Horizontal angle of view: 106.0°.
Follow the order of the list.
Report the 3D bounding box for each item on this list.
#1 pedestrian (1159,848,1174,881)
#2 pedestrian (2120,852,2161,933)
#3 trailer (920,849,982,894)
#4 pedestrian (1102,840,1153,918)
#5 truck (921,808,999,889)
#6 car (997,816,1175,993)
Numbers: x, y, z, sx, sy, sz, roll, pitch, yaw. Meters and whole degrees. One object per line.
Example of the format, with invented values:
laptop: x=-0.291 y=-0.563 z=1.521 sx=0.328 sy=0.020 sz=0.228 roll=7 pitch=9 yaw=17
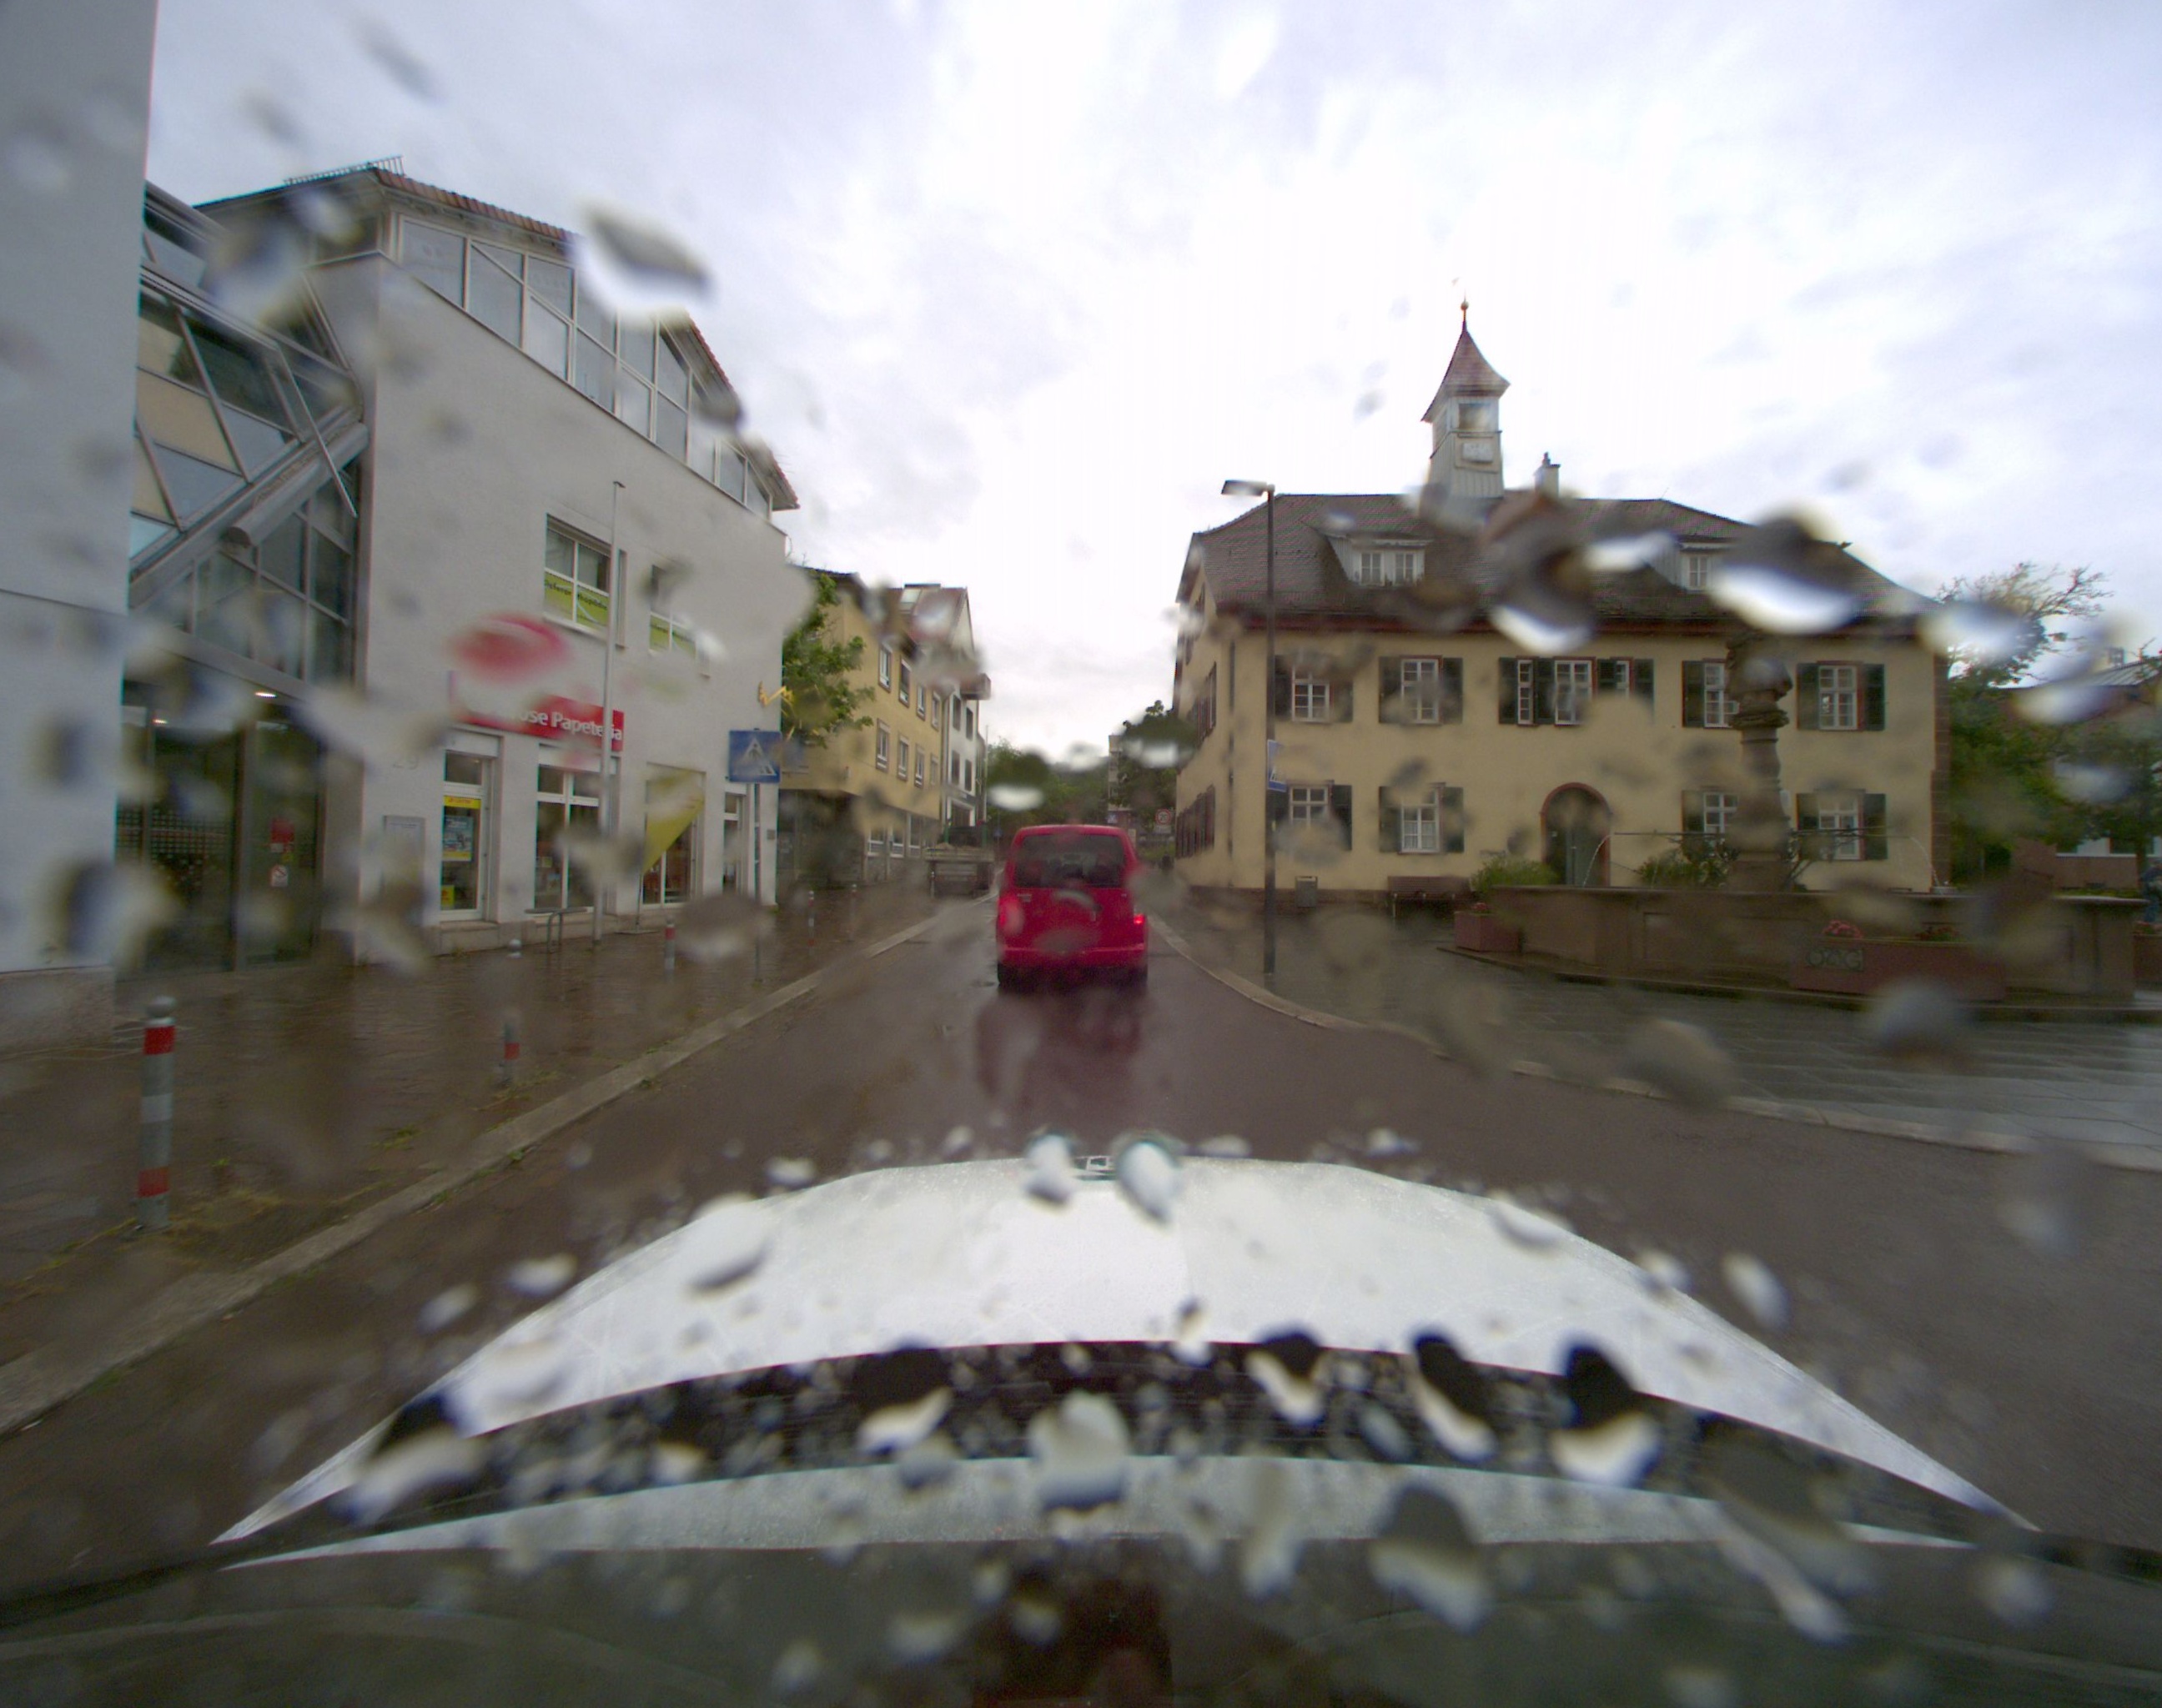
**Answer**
pedestrian: x=4.289 y=0.524 z=40.865 sx=0.725 sy=1.617 sz=0.694 roll=0 pitch=-1 yaw=3
pedestrian: x=24.530 y=0.865 z=18.638 sx=0.687 sy=1.822 sz=0.786 roll=0 pitch=-1 yaw=-26
trailer: x=-4.164 y=0.535 z=26.545 sx=1.725 sy=1.346 sz=3.156 roll=0 pitch=1 yaw=-4
pedestrian: x=1.041 y=0.544 z=18.209 sx=0.872 sy=1.693 sz=0.708 roll=0 pitch=0 yaw=-38
truck: x=-4.493 y=-0.250 z=31.392 sx=2.469 sy=2.795 sz=6.590 roll=0 pitch=1 yaw=-4
car: x=-0.040 y=0.527 z=10.621 sx=1.858 sy=1.830 sz=4.180 roll=-1 pitch=0 yaw=-3
